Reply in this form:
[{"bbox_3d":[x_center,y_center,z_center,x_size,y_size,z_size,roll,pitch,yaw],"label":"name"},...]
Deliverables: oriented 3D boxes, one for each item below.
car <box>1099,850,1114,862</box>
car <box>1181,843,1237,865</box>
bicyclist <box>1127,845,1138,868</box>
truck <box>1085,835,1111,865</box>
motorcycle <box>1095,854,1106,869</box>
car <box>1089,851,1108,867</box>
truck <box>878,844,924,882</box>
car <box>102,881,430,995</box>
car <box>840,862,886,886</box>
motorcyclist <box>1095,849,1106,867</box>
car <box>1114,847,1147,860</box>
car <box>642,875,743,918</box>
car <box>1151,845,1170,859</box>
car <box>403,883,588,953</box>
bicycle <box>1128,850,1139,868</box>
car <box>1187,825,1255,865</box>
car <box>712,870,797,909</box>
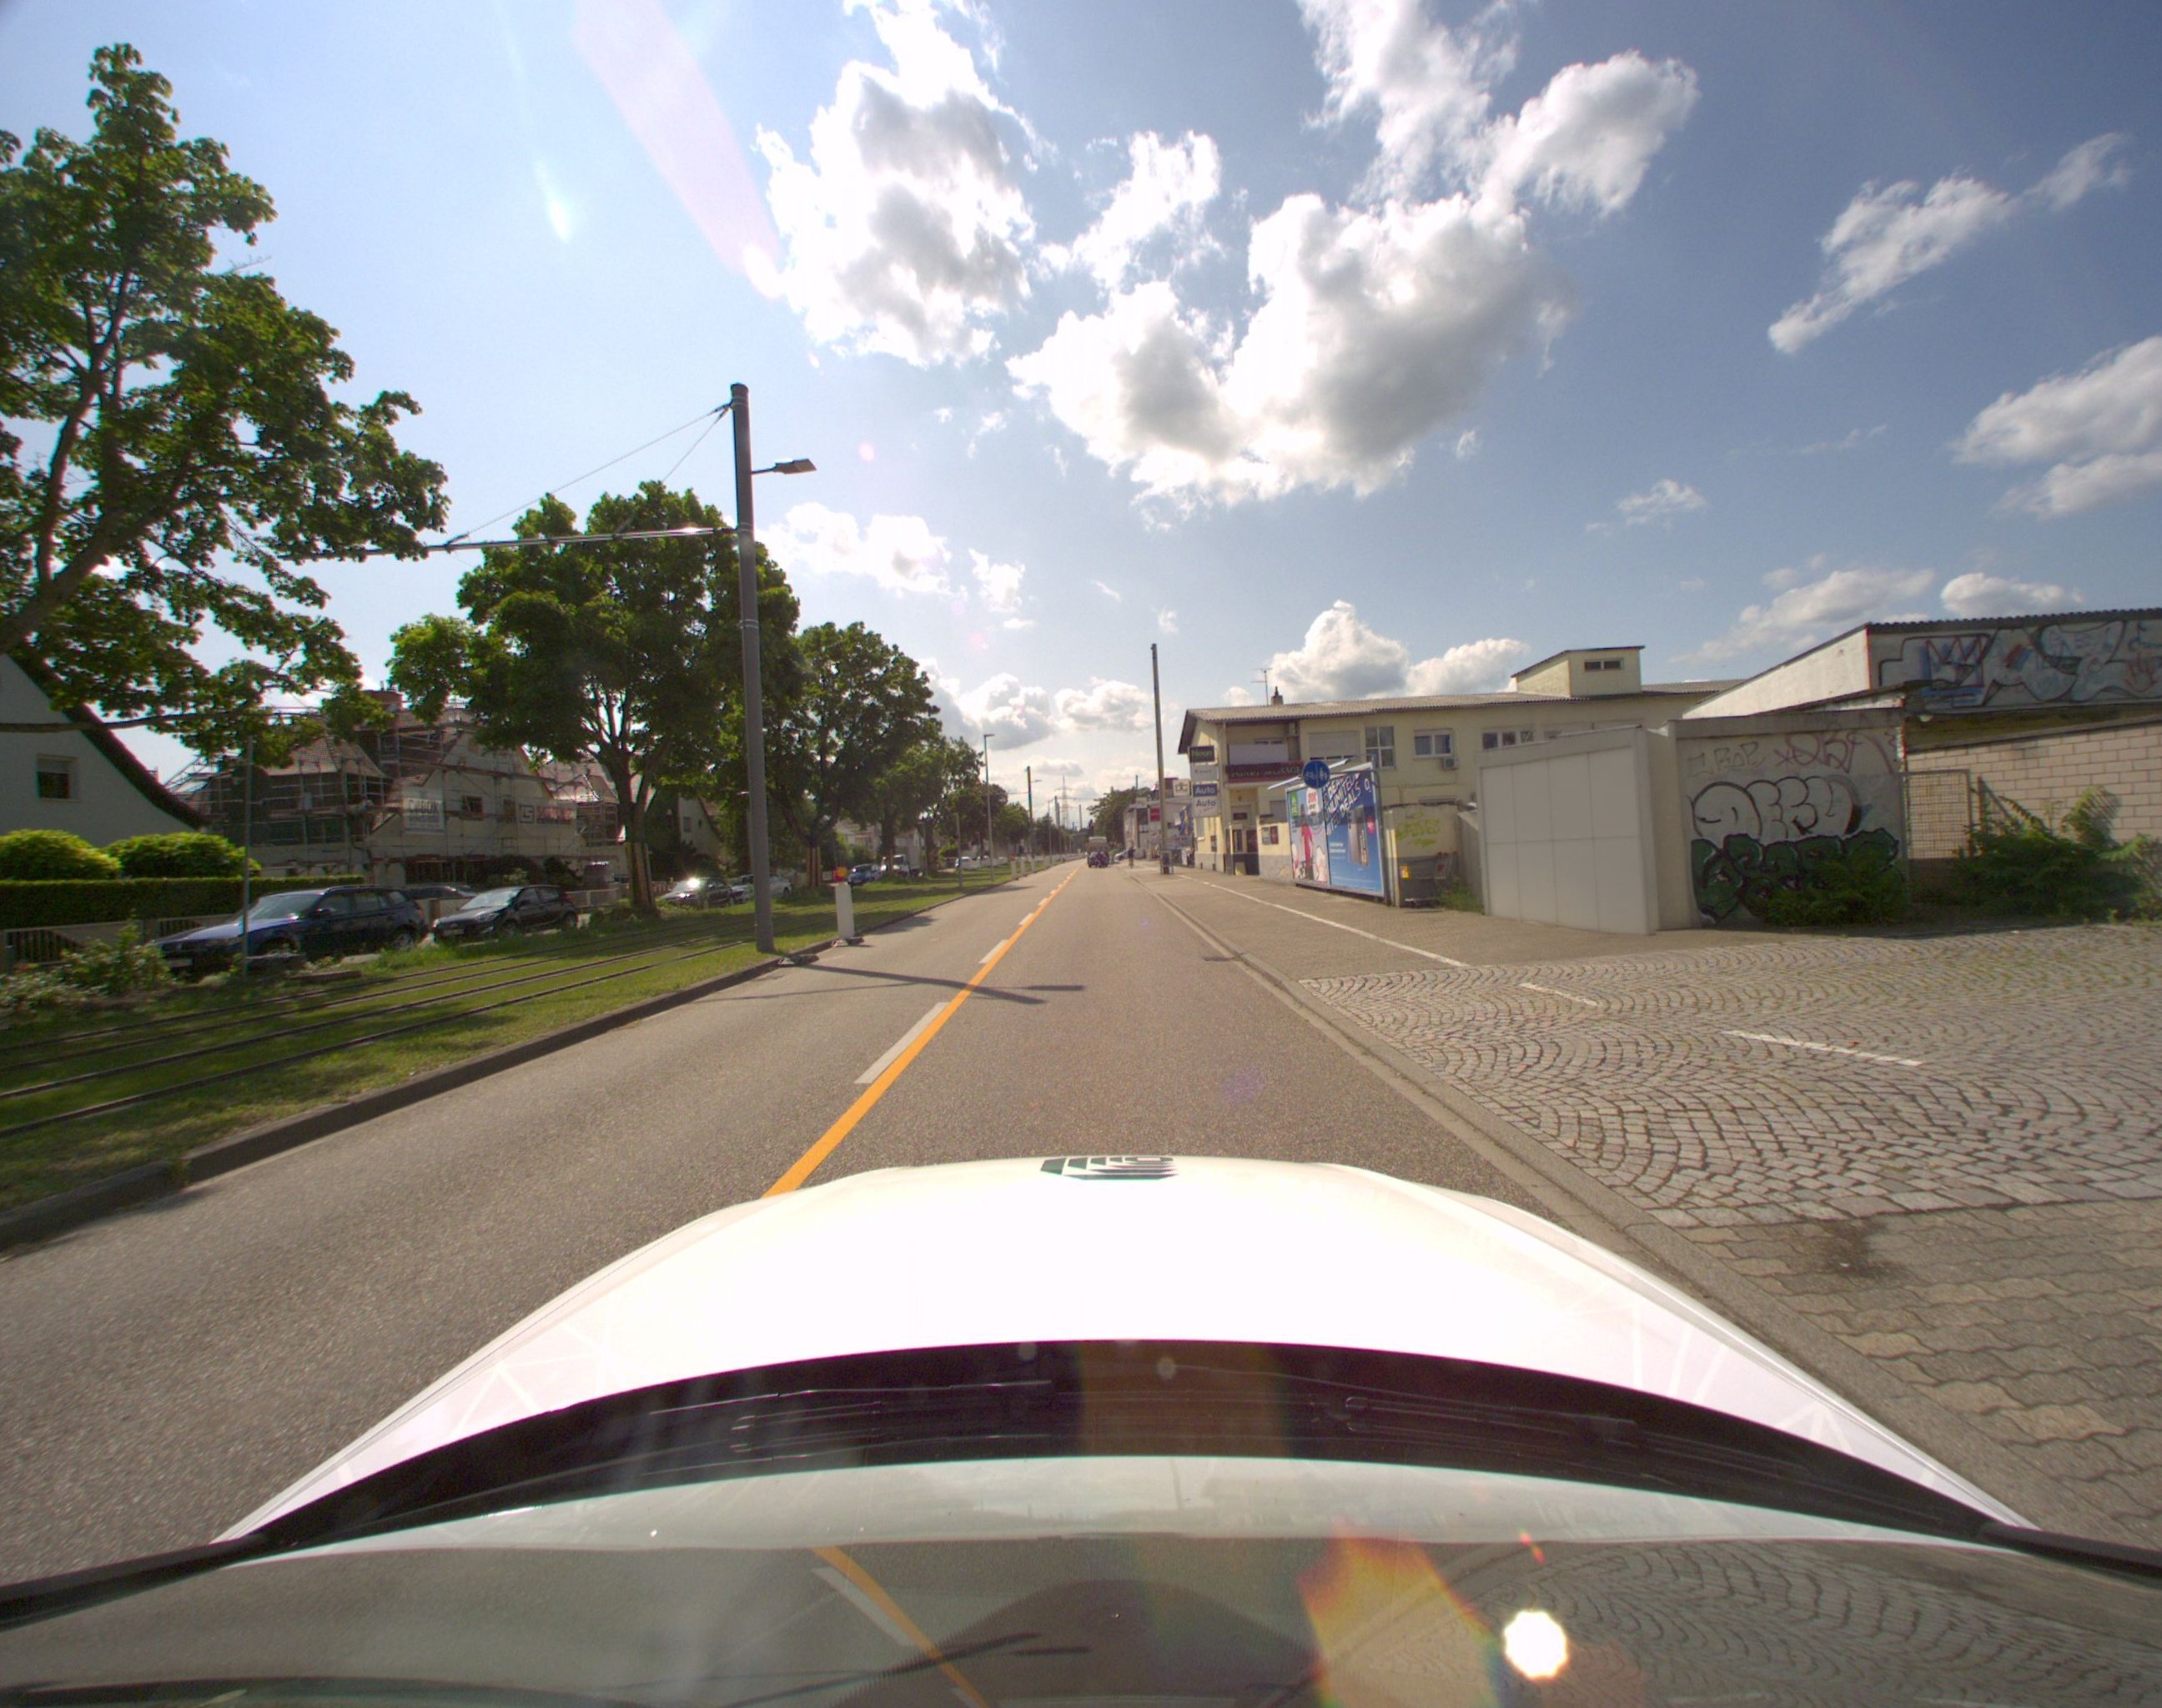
[{"bbox_3d":[3.408,0.208,108.182,1.815,1.464,4.002,-2,0,2],"label":"car"},{"bbox_3d":[9.809,-0.025,62.527,4.160,1.431,1.824,-3,0,8],"label":"car"},{"bbox_3d":[4.031,0.207,63.800,0.669,1.744,0.813,-3,0,0],"label":"bicyclist"},{"bbox_3d":[2.023,-0.550,94.982,2.601,3.255,9.186,-4,1,2],"label":"truck"},{"bbox_3d":[1.774,0.666,74.518,0.936,1.320,2.645,-1,0,1],"label":"motorcycle"},{"bbox_3d":[1.696,0.496,78.996,1.815,1.424,4.001,-2,0,1],"label":"car"},{"bbox_3d":[-14.633,0.678,66.486,1.987,2.767,6.277,-6,0,1],"label":"truck"},{"bbox_3d":[-15.511,1.482,15.949,1.989,1.691,4.388,-4,-1,-2],"label":"car"},{"bbox_3d":[-14.807,1.312,55.477,1.988,1.453,3.998,-4,-1,-1],"label":"car"},{"bbox_3d":[1.768,0.397,74.339,0.936,1.615,1.205,-1,0,1],"label":"motorcyclist"},{"bbox_3d":[7.068,-0.014,116.226,4.327,1.551,1.945,-4,-1,-7],"label":"car"},{"bbox_3d":[-15.317,1.640,32.319,1.987,1.317,3.853,-6,-1,1],"label":"car"},{"bbox_3d":[10.287,-0.229,105.710,1.953,1.648,3.998,-4,-1,-1],"label":"car"},{"bbox_3d":[-15.672,1.657,22.127,1.987,1.439,4.000,-5,-1,1],"label":"car"},{"bbox_3d":[4.087,0.390,63.783,0.690,1.361,2.419,-3,0,1],"label":"bicycle"},{"bbox_3d":[10.200,-0.648,59.604,4.519,2.573,2.153,-3,-1,2],"label":"car"},{"bbox_3d":[-15.099,1.599,37.973,1.798,1.482,4.941,-4,0,1],"label":"car"}]
